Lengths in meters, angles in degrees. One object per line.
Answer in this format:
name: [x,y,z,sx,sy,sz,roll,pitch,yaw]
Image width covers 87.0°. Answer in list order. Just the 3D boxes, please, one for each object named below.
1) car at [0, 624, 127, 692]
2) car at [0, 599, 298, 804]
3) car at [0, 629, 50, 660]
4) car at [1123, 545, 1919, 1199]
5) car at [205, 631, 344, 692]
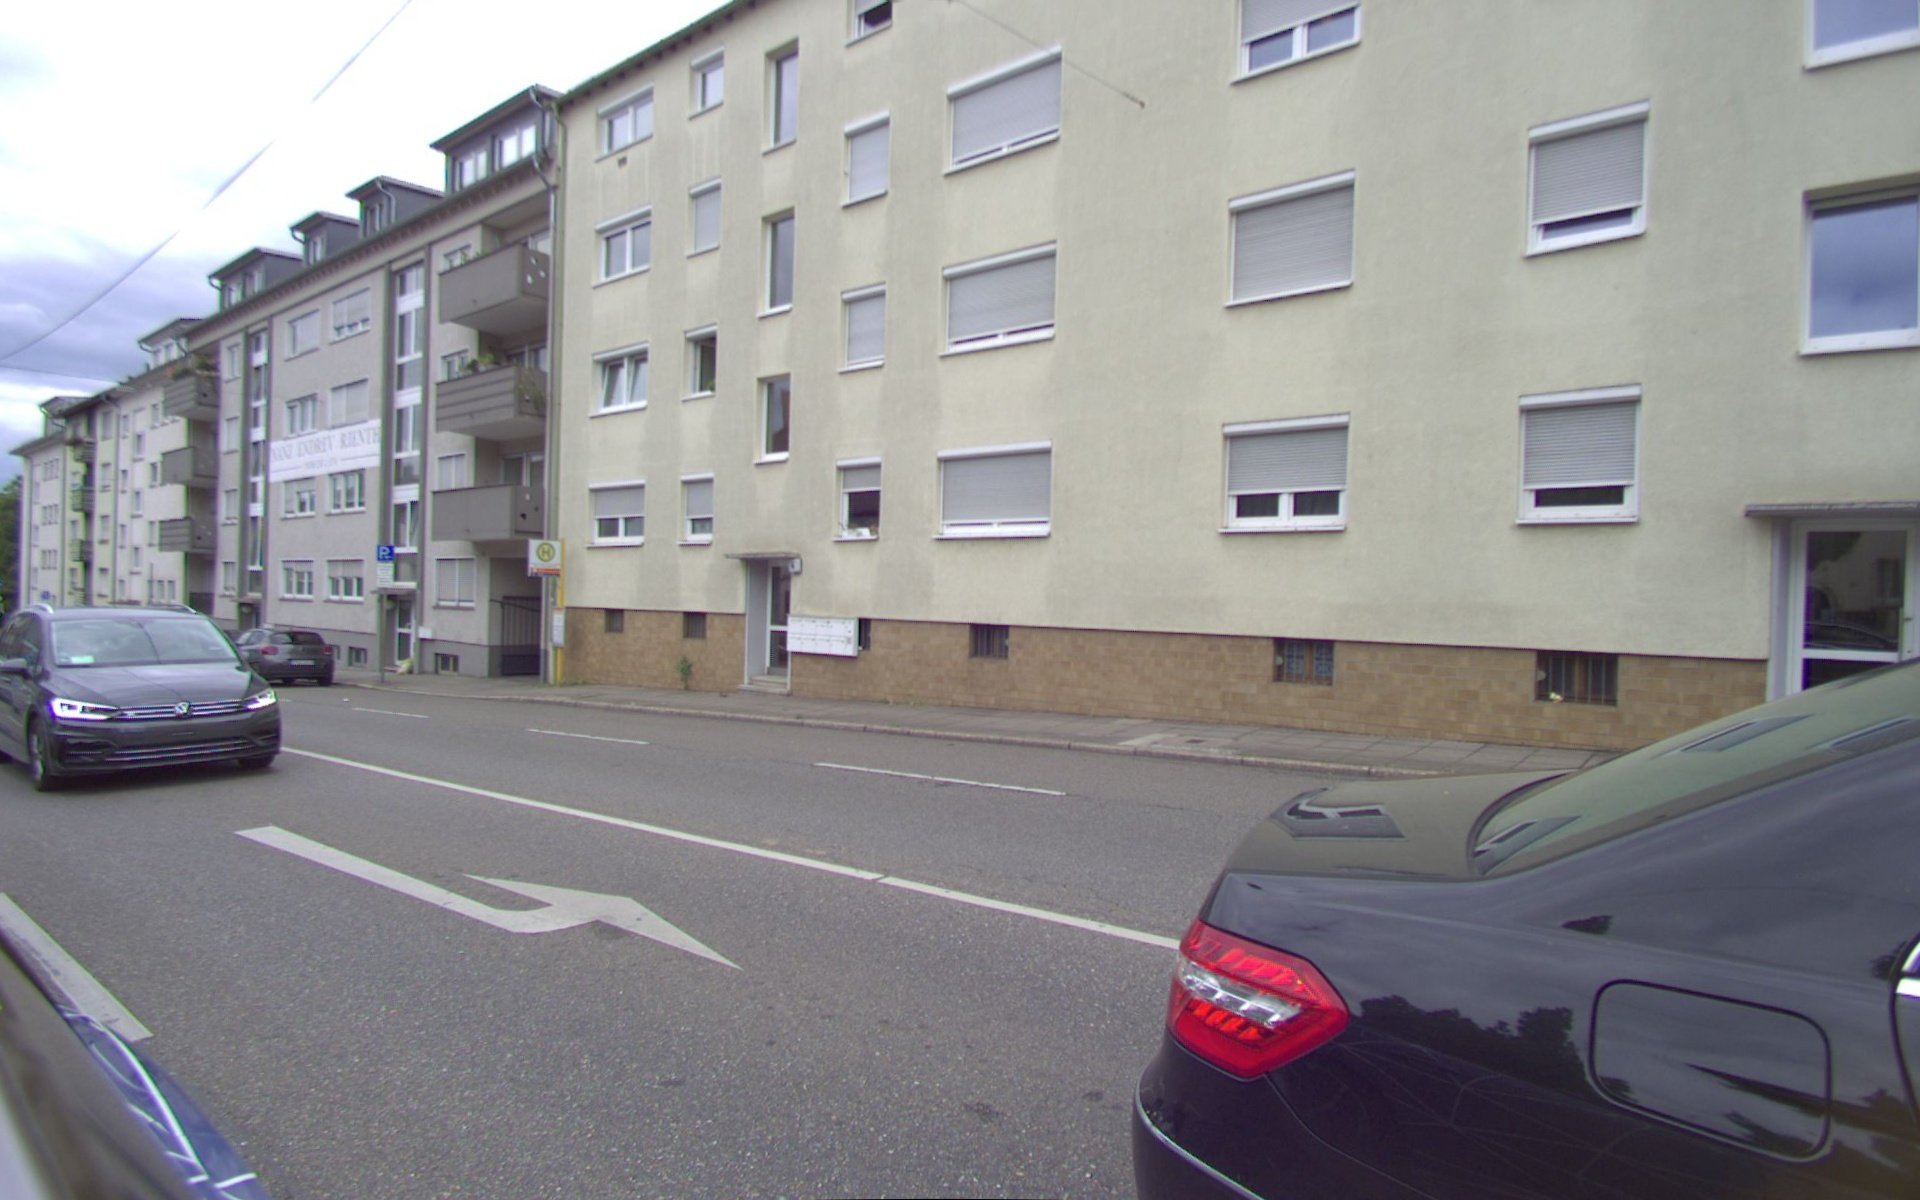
car: [-22.498,1.391,25.296,4.078,1.533,1.753,-1,-2,39]
car: [-8.534,0.829,10.174,4.474,1.623,1.840,-1,0,38]
car: [-46.170,2.148,49.428,3.752,1.414,1.755,-1,-3,36]
car: [2.711,0.659,0.710,4.840,1.440,1.973,-1,-2,41]
car: [-17.586,1.526,25.928,3.680,1.422,1.755,-1,-3,36]
